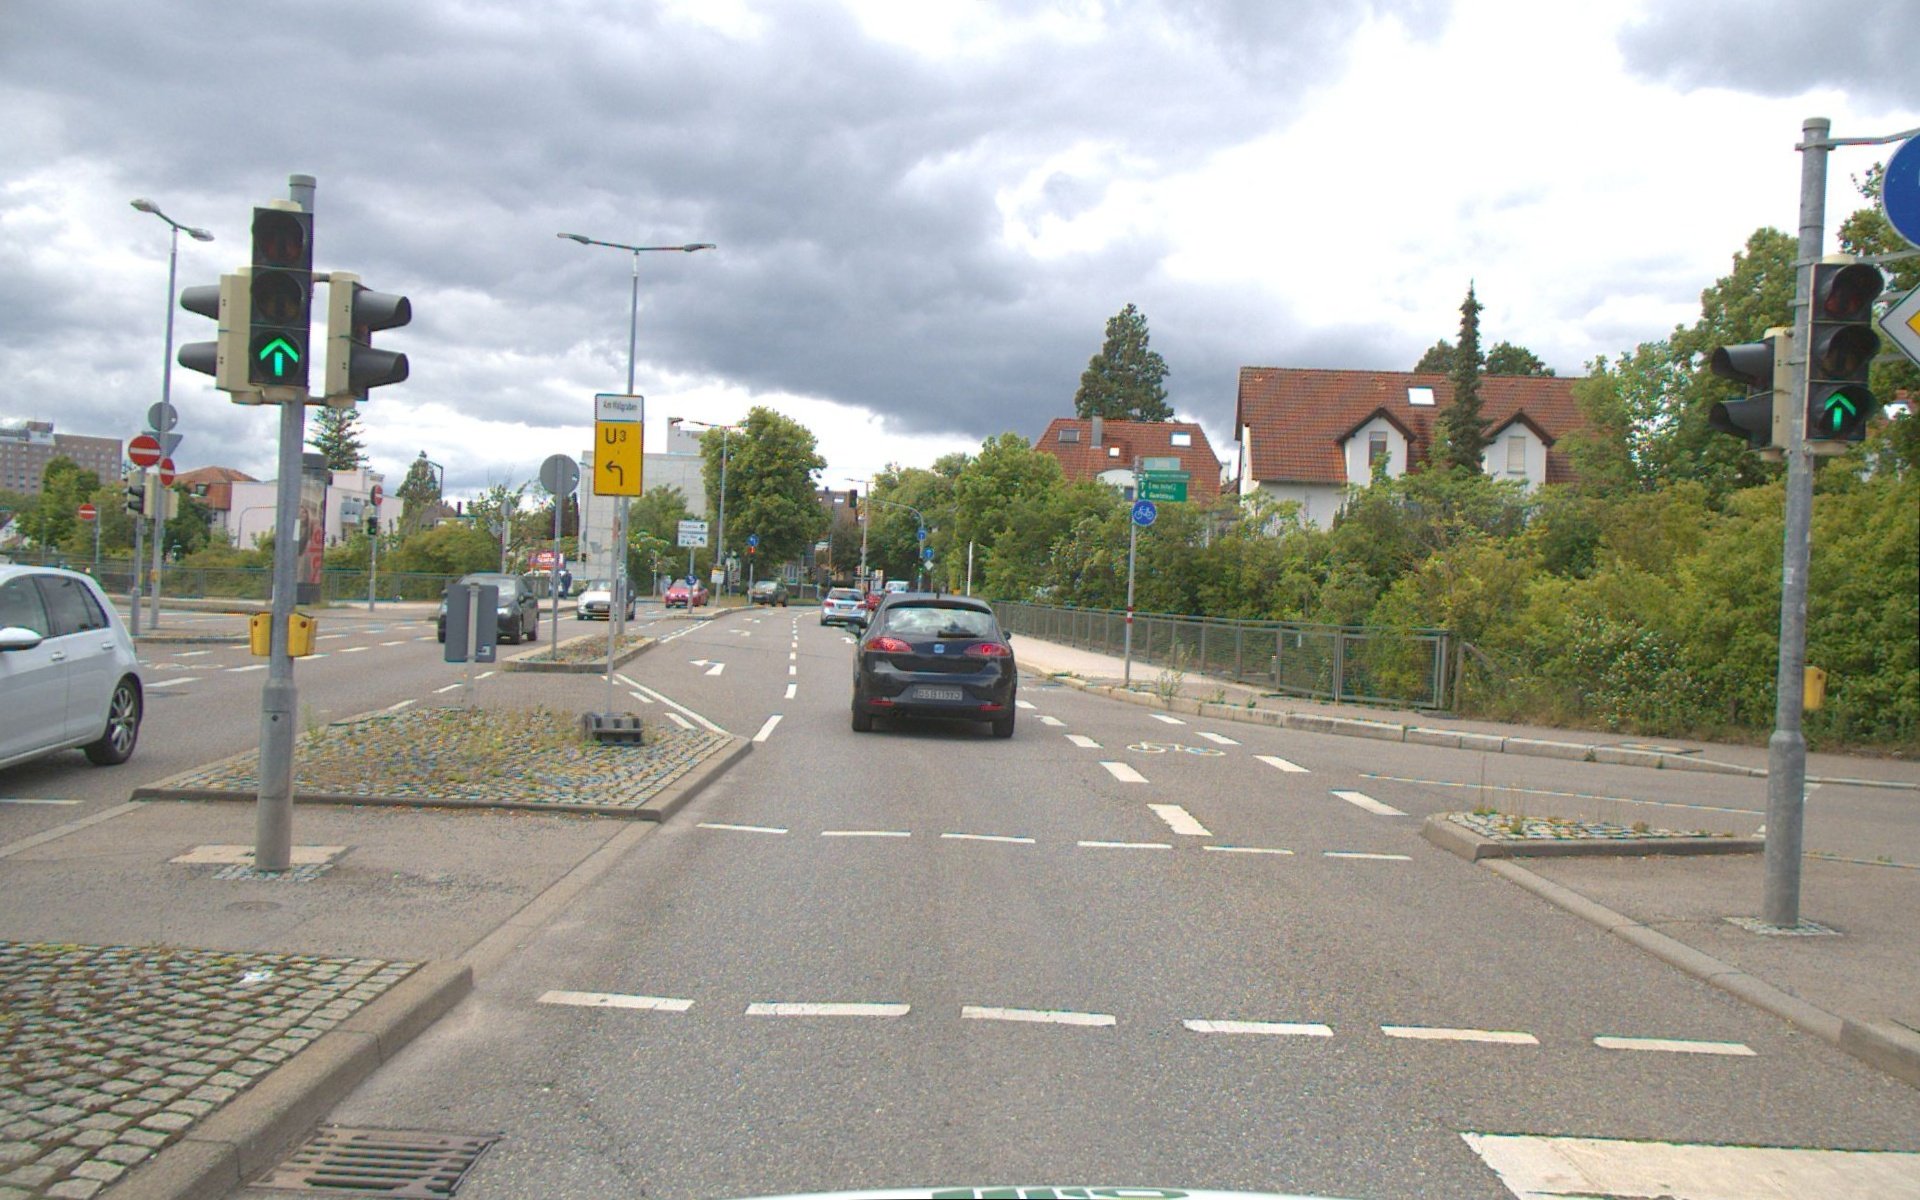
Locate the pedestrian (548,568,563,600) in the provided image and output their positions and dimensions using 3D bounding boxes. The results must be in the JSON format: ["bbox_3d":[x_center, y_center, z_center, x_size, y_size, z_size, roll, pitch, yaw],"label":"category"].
[{"bbox_3d":[-21.518,-0.839,87.955,0.644,1.661,0.831,4,0,-12],"label":"pedestrian"}]

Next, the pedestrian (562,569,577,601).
[{"bbox_3d":[-20.789,-0.809,88.023,0.644,1.661,1.068,4,0,-11],"label":"pedestrian"}]

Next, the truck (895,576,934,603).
[{"bbox_3d":[-4.063,-0.885,148.713,2.080,2.304,6.811,2,0,10],"label":"truck"}]

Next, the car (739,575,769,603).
[{"bbox_3d":[-13.065,-0.685,104.741,1.788,1.655,4.272,3,0,-7],"label":"car"}]

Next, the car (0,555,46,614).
[{"bbox_3d":[-25.360,-0.411,42.770,3.632,1.472,1.767,1,0,38],"label":"car"}]

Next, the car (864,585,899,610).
[{"bbox_3d":[-5.092,-0.197,106.847,1.905,1.507,4.246,2,1,-7],"label":"car"}]

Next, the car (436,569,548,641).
[{"bbox_3d":[-9.826,0.088,35.002,1.688,1.415,3.912,1,0,-7],"label":"car"}]

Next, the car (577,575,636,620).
[{"bbox_3d":[-12.270,-0.096,57.631,1.612,1.433,3.813,3,0,-7],"label":"car"}]

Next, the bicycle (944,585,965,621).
[{"bbox_3d":[-0.246,0.105,73.347,0.873,1.537,2.783,2,1,0],"label":"bicycle"}]

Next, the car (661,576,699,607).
[{"bbox_3d":[-14.289,-0.441,84.489,1.688,1.473,4.060,3,0,-7],"label":"car"}]

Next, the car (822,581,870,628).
[{"bbox_3d":[-4.476,0.132,64.967,1.783,1.729,4.250,2,1,-4],"label":"car"}]

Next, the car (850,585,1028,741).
[{"bbox_3d":[-0.265,0.606,18.222,1.724,1.474,3.713,2,1,-2],"label":"car"}]

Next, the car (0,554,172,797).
[{"bbox_3d":[-6.754,0.419,10.719,1.764,1.469,3.942,2,0,-7],"label":"car"}]
